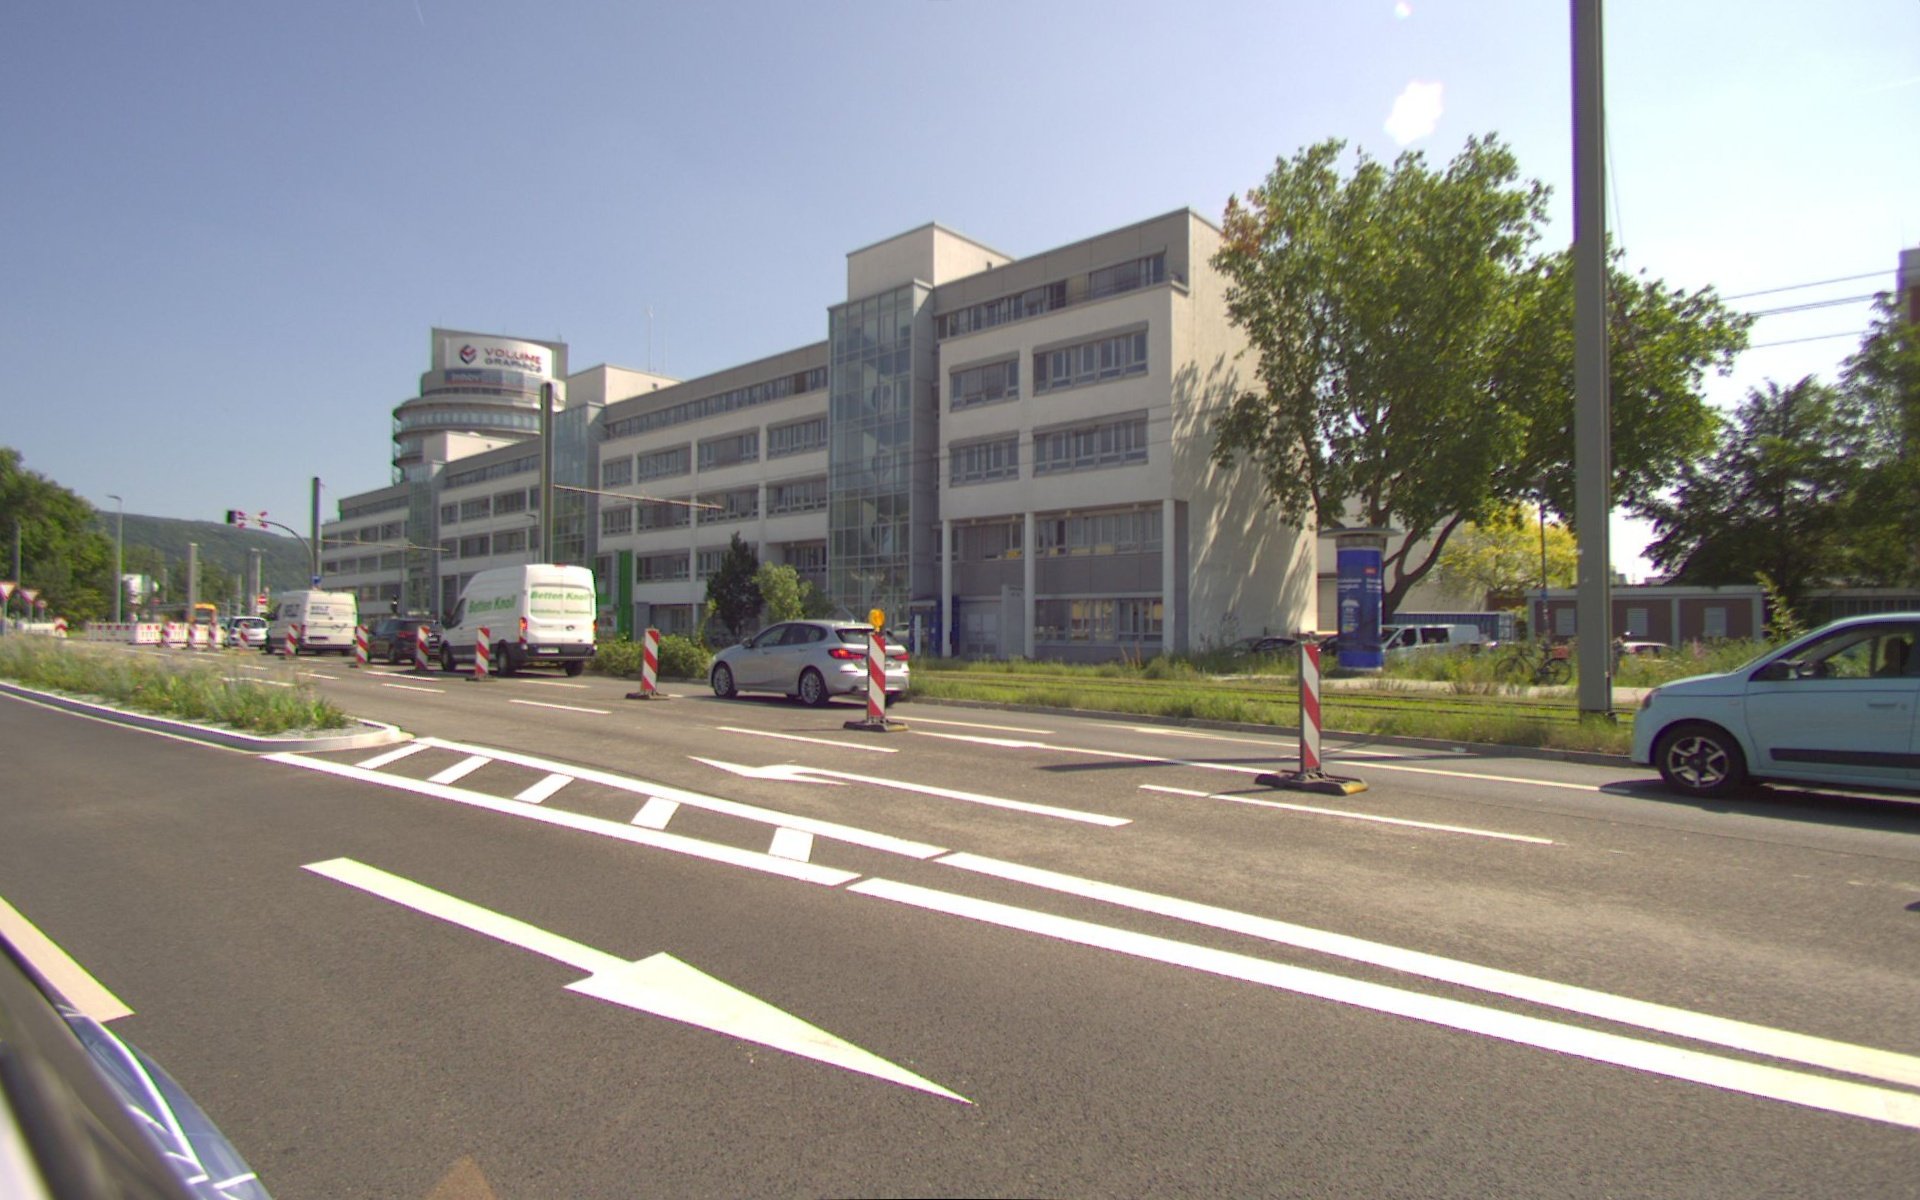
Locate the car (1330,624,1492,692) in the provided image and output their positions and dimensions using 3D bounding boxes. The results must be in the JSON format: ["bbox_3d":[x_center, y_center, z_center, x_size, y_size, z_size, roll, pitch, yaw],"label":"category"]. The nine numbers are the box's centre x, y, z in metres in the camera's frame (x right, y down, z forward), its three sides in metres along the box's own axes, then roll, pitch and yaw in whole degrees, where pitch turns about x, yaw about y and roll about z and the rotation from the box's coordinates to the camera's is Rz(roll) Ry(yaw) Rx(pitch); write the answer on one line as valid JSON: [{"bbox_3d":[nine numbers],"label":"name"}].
[{"bbox_3d":[15.473,1.929,34.771,4.988,2.196,2.120,0,-1,-20],"label":"car"}]

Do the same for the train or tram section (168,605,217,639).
[{"bbox_3d":[-82.922,2.387,109.209,11.786,3.477,2.595,-1,-1,45],"label":"train or tram section"}]

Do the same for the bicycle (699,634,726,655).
[{"bbox_3d":[-15.248,2.716,62.327,0.438,1.198,1.628,-2,-1,43],"label":"bicycle"}]

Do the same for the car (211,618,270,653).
[{"bbox_3d":[-34.037,1.686,47.847,1.562,1.553,3.980,5,-5,-45],"label":"car"}]

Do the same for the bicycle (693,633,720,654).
[{"bbox_3d":[-15.728,2.699,62.925,0.438,1.198,1.628,-2,-1,44],"label":"bicycle"}]

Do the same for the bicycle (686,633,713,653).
[{"bbox_3d":[-16.507,2.727,64.198,1.626,1.198,0.439,-1,-1,-42],"label":"bicycle"}]

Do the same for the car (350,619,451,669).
[{"bbox_3d":[-17.797,1.381,32.103,4.193,1.468,1.528,-1,-4,43],"label":"car"}]

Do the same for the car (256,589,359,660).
[{"bbox_3d":[-26.334,1.013,40.724,6.196,2.598,2.007,-2,-5,44],"label":"car"}]

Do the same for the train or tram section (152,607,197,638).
[{"bbox_3d":[-91.309,2.584,117.490,11.786,3.477,2.595,-1,-1,45],"label":"train or tram section"}]

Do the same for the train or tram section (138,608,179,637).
[{"bbox_3d":[-99.699,2.758,125.771,11.786,3.477,2.595,-1,-1,45],"label":"train or tram section"}]

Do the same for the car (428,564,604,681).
[{"bbox_3d":[-11.873,0.621,26.803,5.988,2.761,2.054,-1,-4,44],"label":"car"}]

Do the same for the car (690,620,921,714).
[{"bbox_3d":[-2.828,1.107,17.852,4.470,1.454,1.654,-1,-4,44],"label":"car"}]

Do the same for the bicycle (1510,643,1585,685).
[{"bbox_3d":[14.742,1.590,25.418,0.455,0.993,1.558,1,-2,-44],"label":"bicycle"}]

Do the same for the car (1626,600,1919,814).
[{"bbox_3d":[7.480,0.810,7.812,1.560,1.542,3.626,4,-4,-40],"label":"car"}]
